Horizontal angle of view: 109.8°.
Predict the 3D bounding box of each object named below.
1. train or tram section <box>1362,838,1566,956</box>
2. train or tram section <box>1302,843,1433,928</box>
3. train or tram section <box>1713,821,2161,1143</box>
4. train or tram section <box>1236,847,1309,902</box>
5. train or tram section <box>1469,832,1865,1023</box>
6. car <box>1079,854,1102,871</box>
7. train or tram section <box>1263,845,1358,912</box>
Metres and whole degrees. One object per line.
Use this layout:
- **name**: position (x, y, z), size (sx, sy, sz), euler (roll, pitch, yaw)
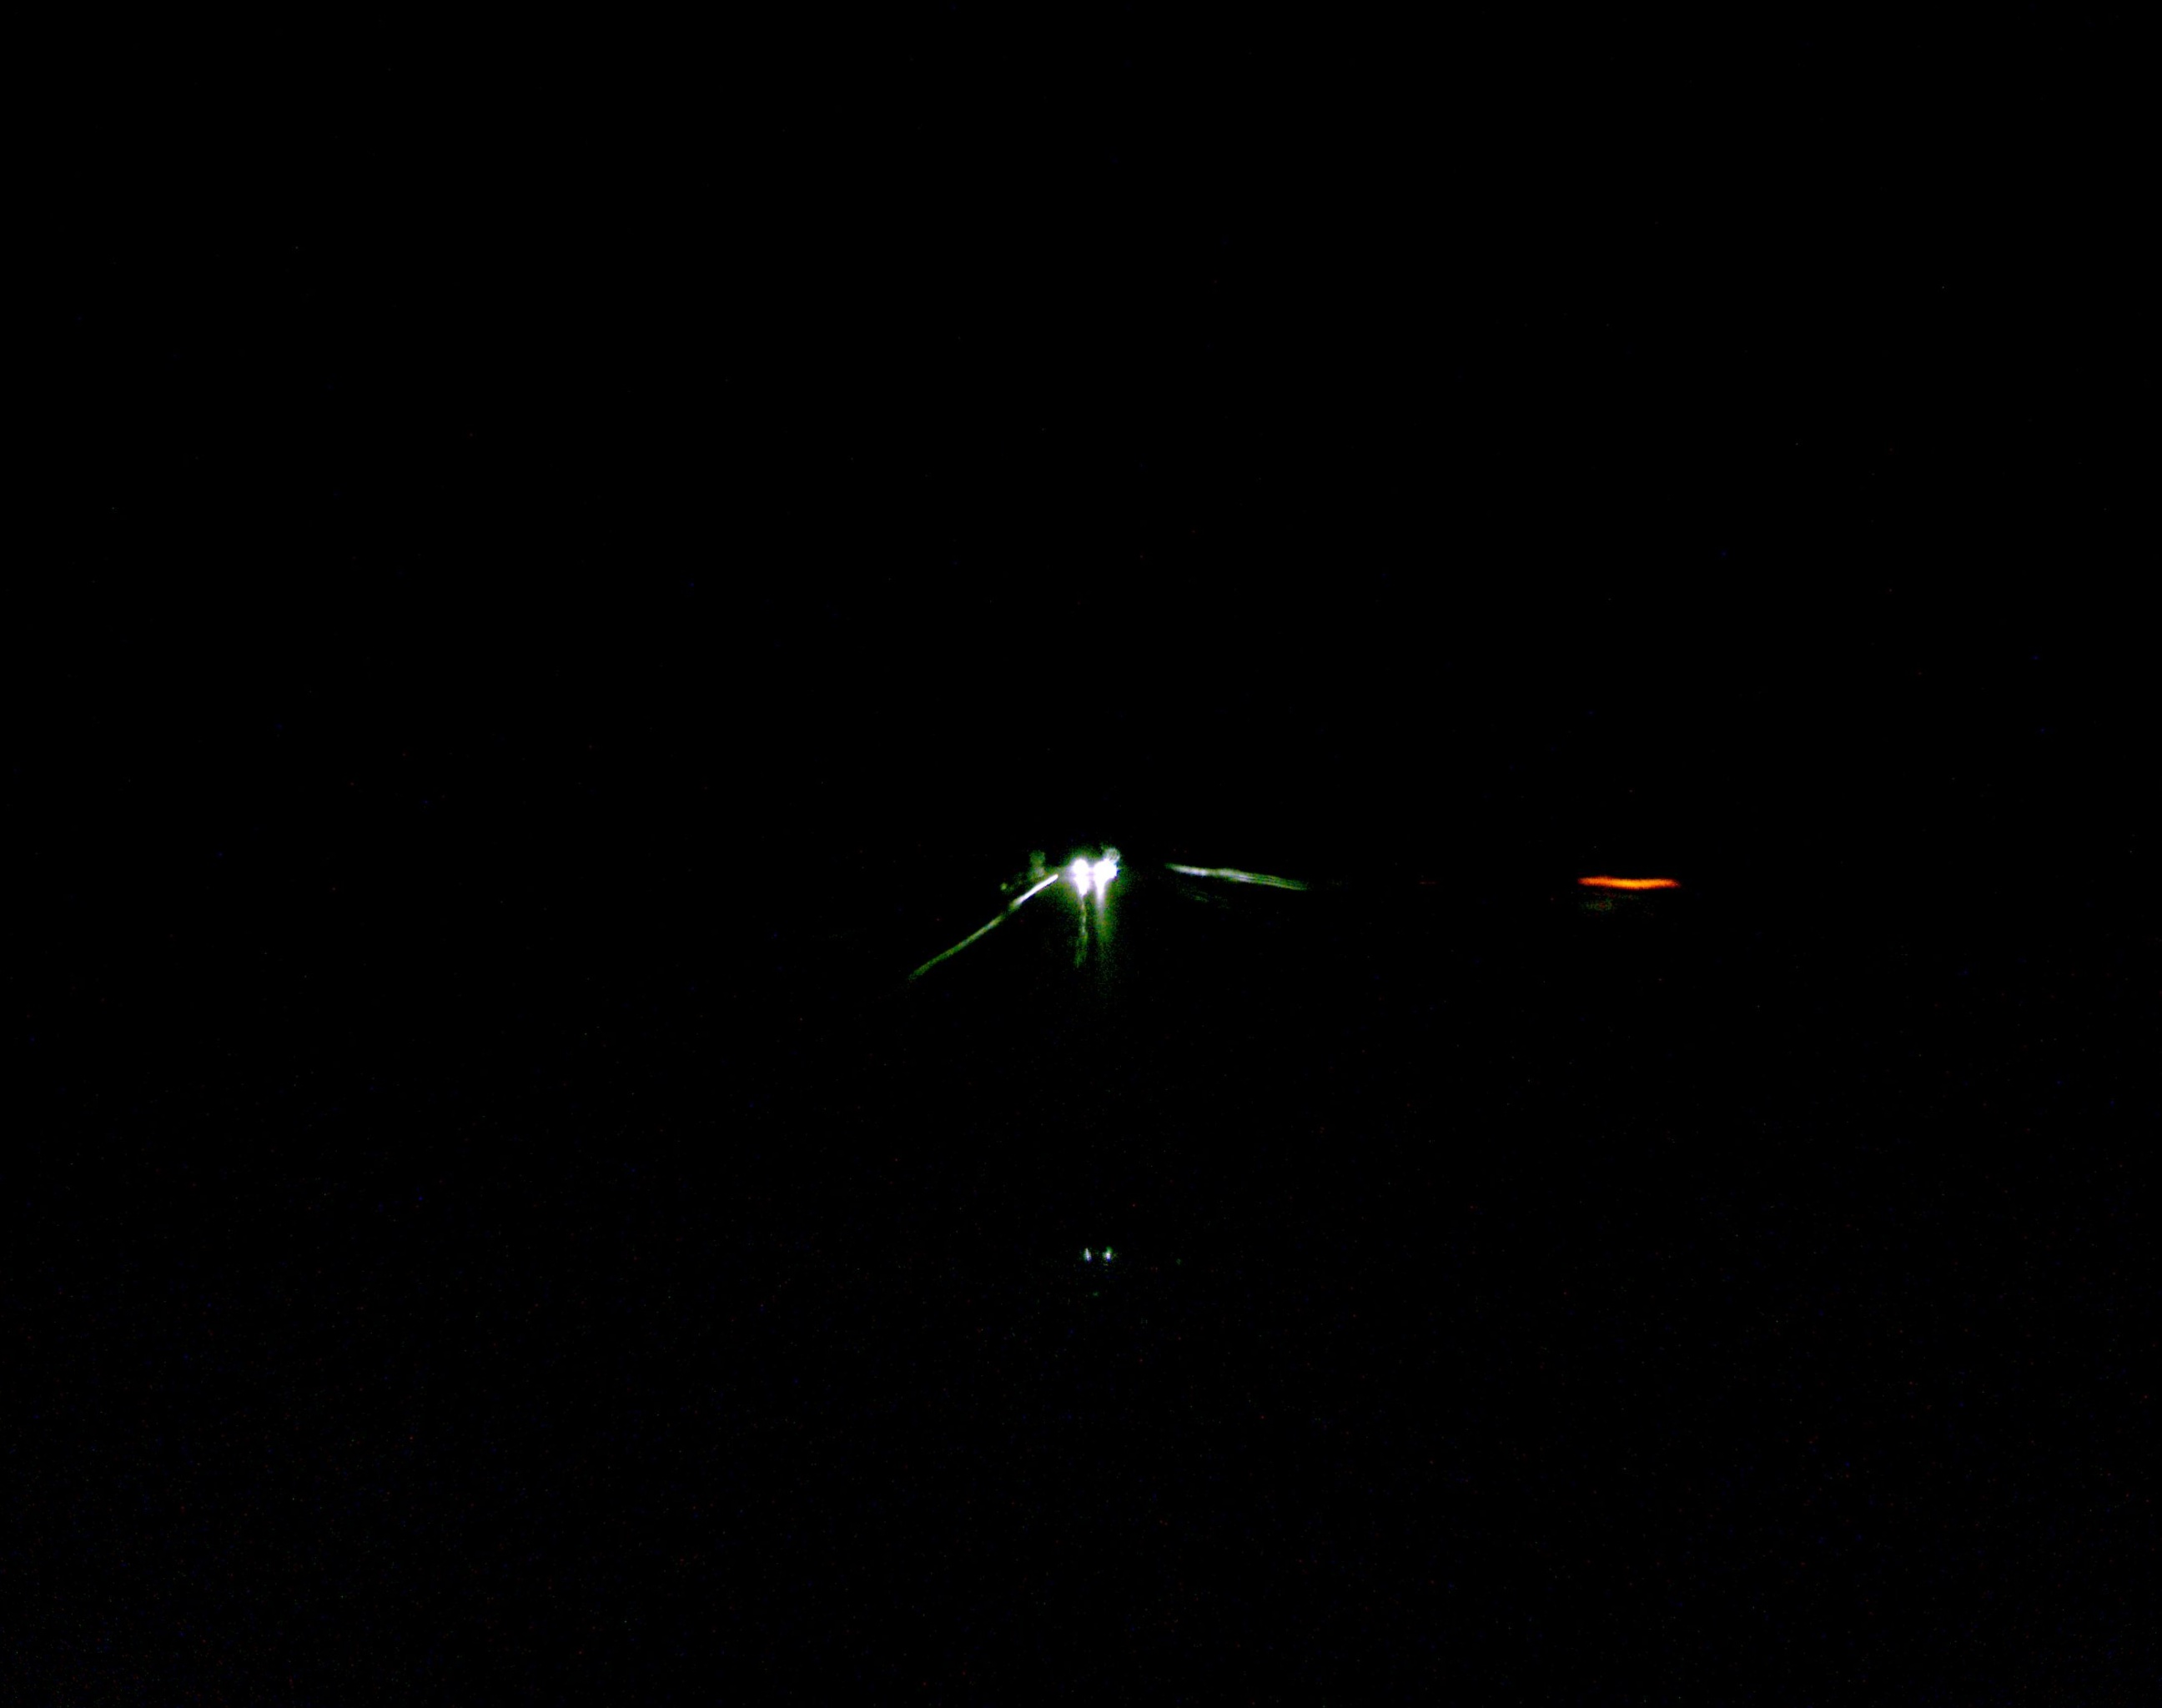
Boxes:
- **train or tram section**: position (12.935, 1.287, 26.797), size (2.851, 3.440, 8.553), euler (-1, 0, 0)
- **train or tram section**: position (12.957, 1.308, 35.374), size (2.851, 3.440, 8.553), euler (-1, 0, 0)
- **train or tram section**: position (12.914, 1.339, 9.528), size (2.851, 3.440, 8.553), euler (-1, 0, 0)
- **train or tram section**: position (13.030, 1.325, 52.520), size (2.851, 3.440, 8.553), euler (-1, 0, 0)
- **train or tram section**: position (12.922, 1.361, 18.189), size (2.851, 3.440, 8.553), euler (-1, 0, 0)
- **car**: position (0.910, 0.835, 68.987), size (1.775, 1.444, 4.138), euler (-1, -2, 5)
- **train or tram section**: position (12.995, 1.298, 43.935), size (2.851, 3.440, 8.553), euler (-1, 0, 0)
